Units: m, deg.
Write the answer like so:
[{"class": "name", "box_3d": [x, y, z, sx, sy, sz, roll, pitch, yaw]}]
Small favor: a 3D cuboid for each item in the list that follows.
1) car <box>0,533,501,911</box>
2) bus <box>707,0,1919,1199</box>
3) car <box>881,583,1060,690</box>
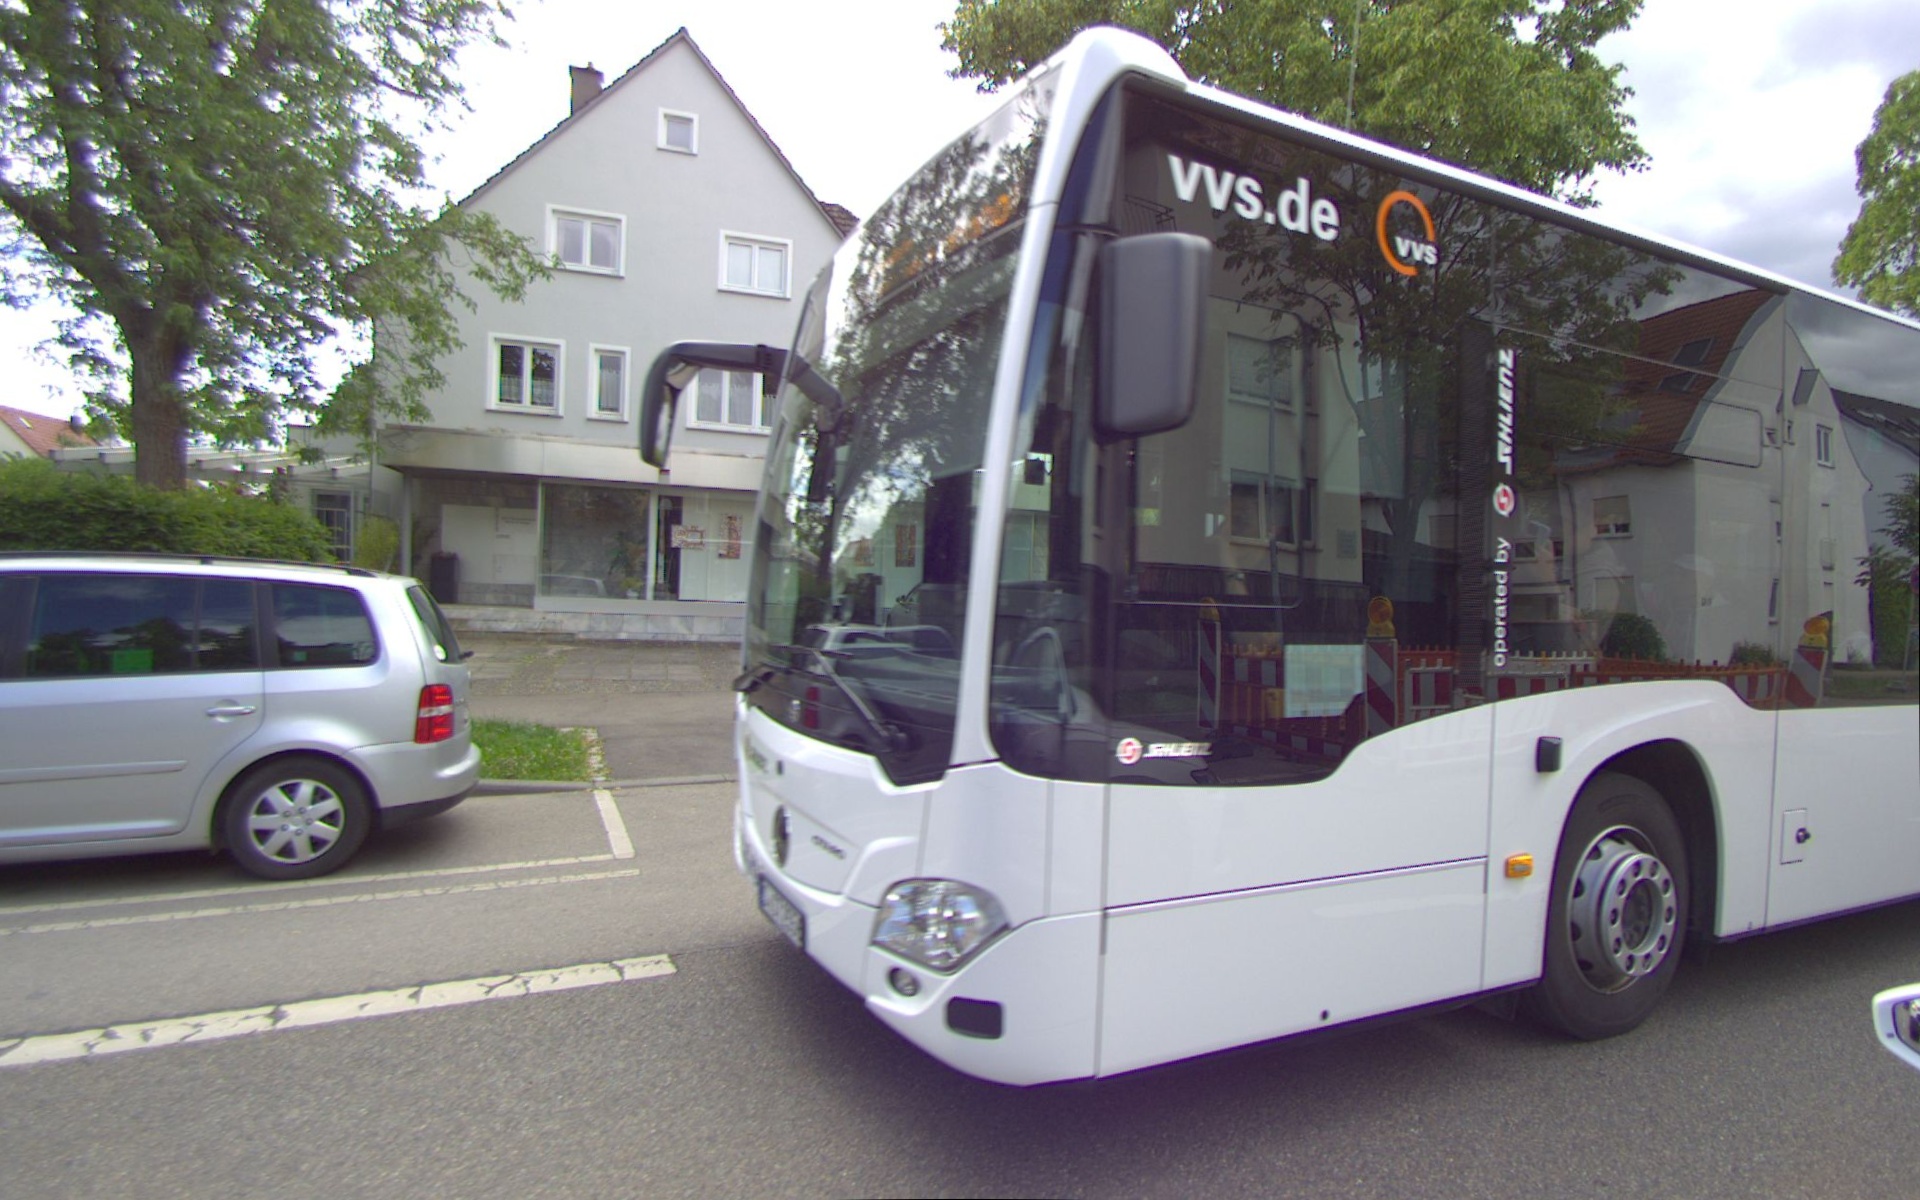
[{"class": "car", "box_3d": [-4.727, 0.535, 5.263, 4.169, 1.706, 1.683, 2, 0, -25]}, {"class": "bus", "box_3d": [7.403, 0.095, 7.506, 17.812, 3.332, 2.794, 2, 0, -27]}, {"class": "car", "box_3d": [0.020, 0.506, 16.624, 1.772, 1.452, 4.077, 1, 2, -17]}]
